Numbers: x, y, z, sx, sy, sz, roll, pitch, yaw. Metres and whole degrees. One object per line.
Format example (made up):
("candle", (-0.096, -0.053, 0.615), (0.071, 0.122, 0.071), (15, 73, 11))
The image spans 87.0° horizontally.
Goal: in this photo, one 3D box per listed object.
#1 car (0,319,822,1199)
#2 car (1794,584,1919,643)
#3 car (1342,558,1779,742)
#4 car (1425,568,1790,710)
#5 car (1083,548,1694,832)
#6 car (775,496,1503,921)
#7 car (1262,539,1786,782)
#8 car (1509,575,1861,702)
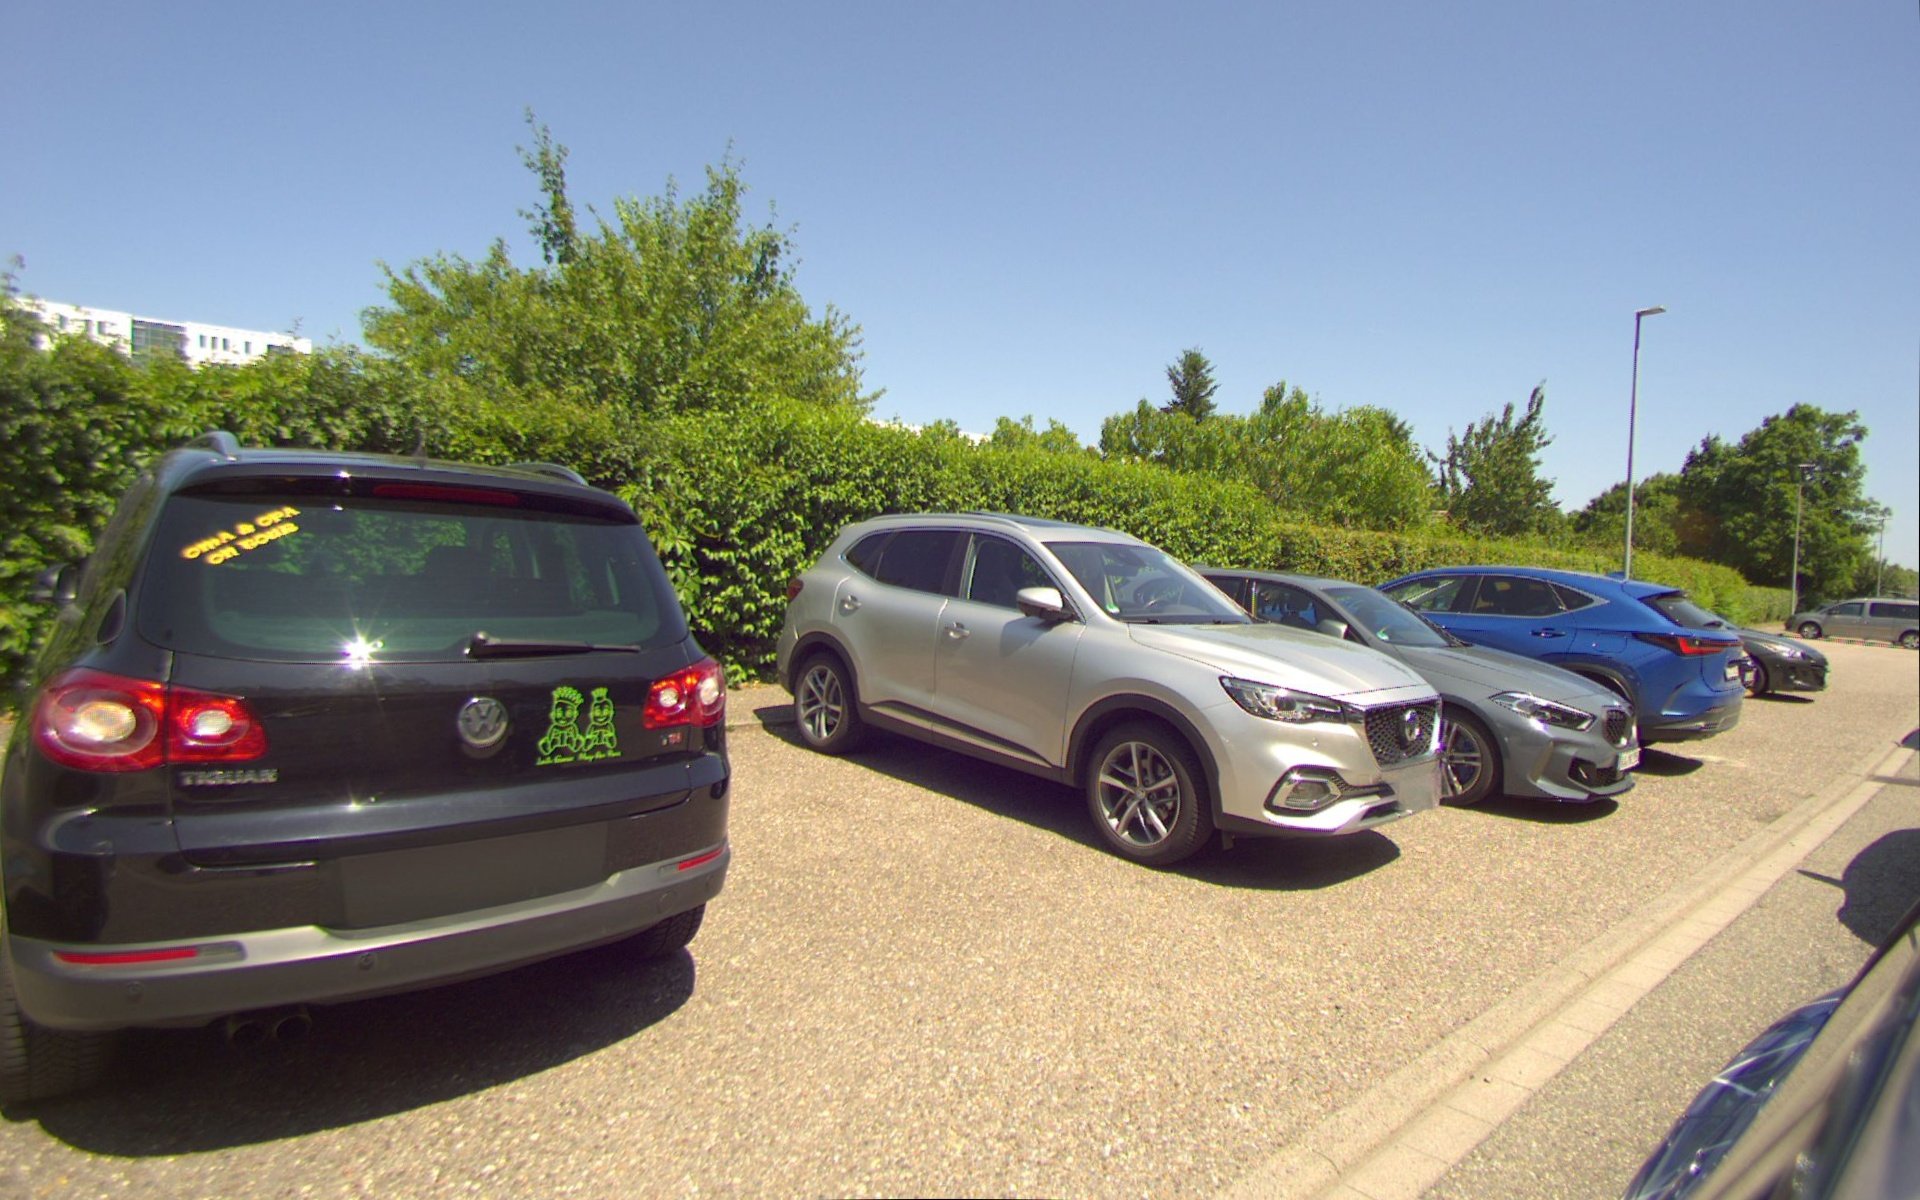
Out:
("car", (-2.373, 0.205, 3.872), (1.735, 1.706, 3.983), (1, 4, -40))
("car", (35.331, 0.541, 39.118), (1.668, 1.872, 4.487), (1, 5, -44))
("car", (6.858, 0.430, 11.931), (1.620, 1.532, 4.037), (1, 5, -40))
("car", (9.125, 0.438, 14.556), (1.620, 1.463, 4.037), (1, 5, -40))
("car", (3.068, 0.453, 7.961), (1.651, 1.425, 4.036), (0, 5, -41))
("car", (0.755, 0.295, 6.270), (1.746, 1.661, 4.168), (0, 5, -42))
("car", (5.212, 0.385, 9.840), (1.644, 1.661, 4.037), (1, 5, -40))
("car", (11.438, 0.499, 16.247), (1.620, 1.434, 4.253), (1, 5, -40))
